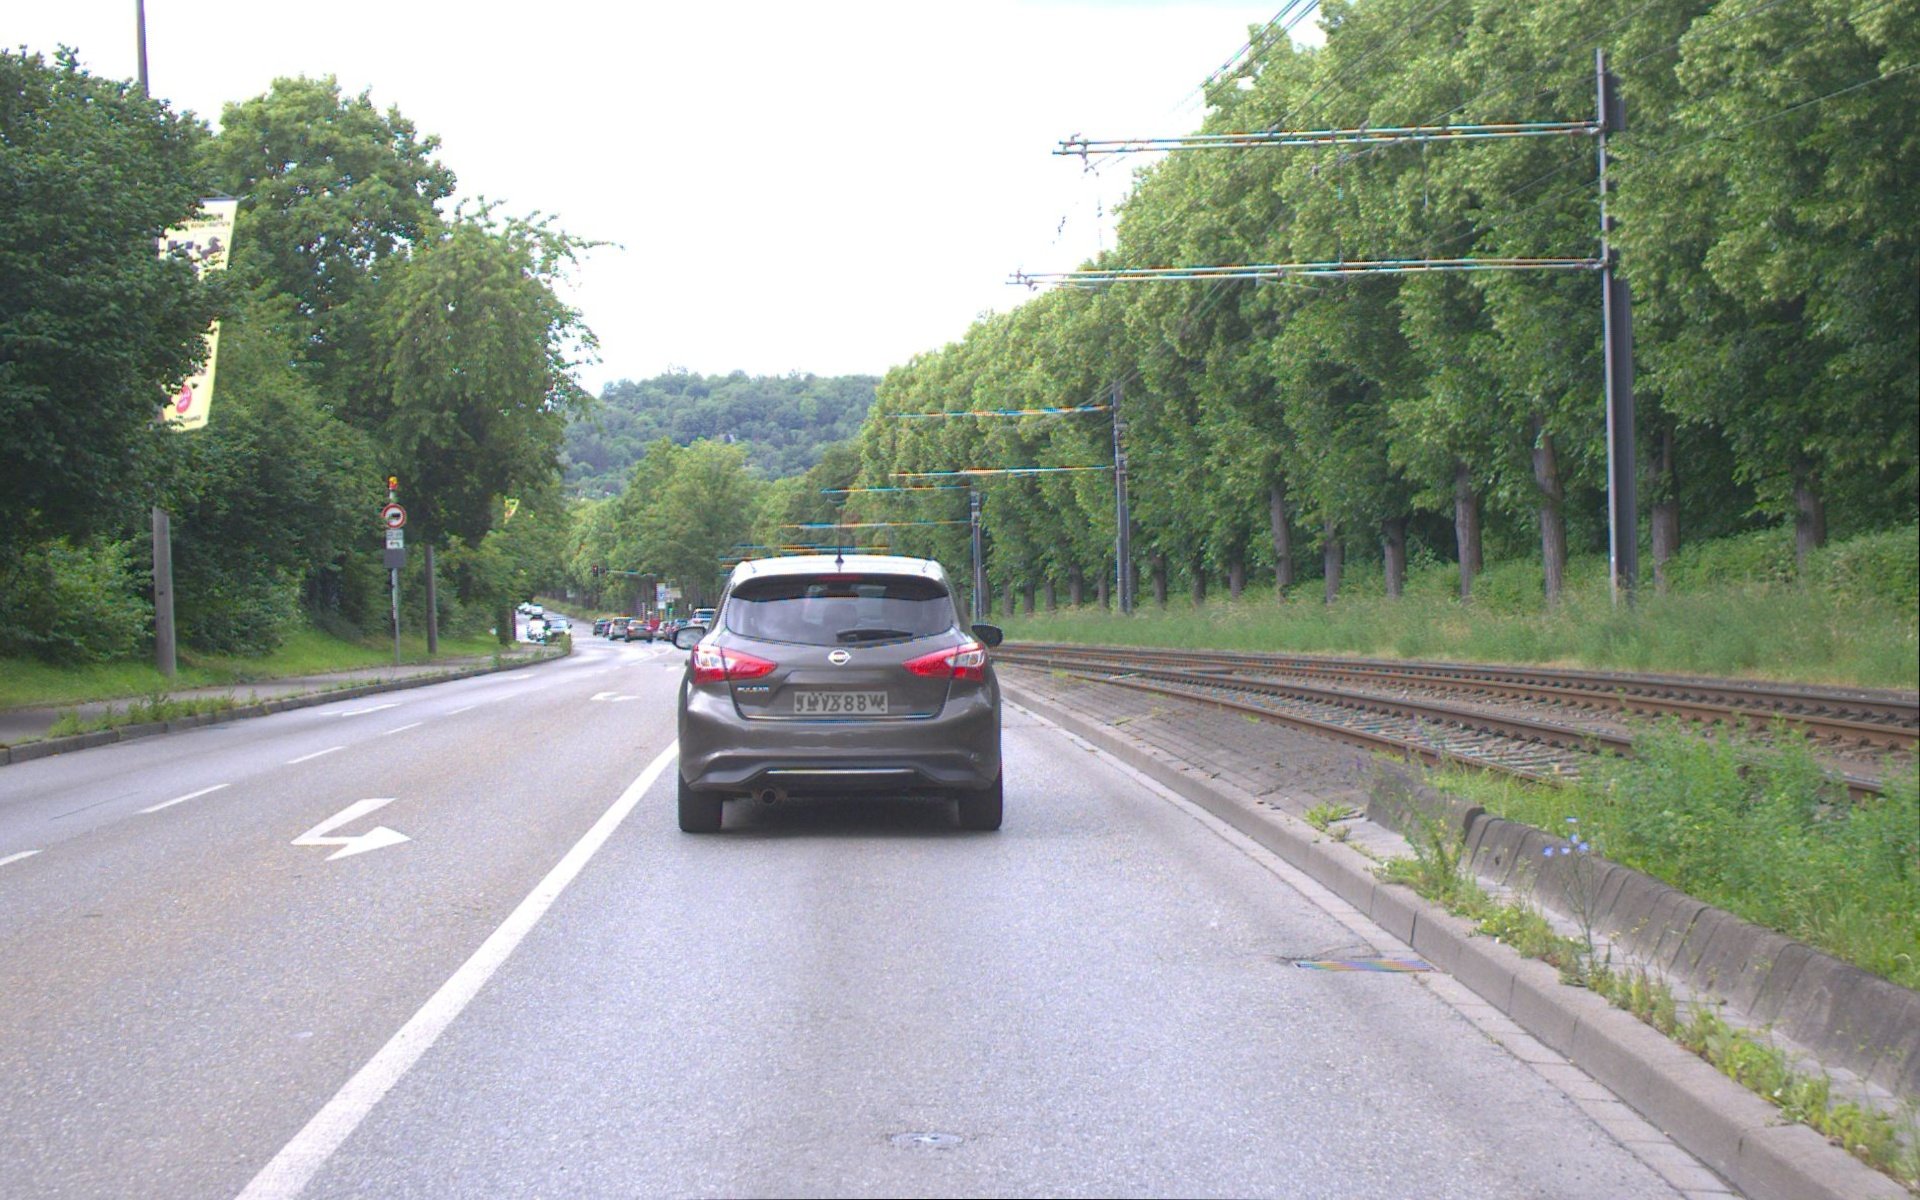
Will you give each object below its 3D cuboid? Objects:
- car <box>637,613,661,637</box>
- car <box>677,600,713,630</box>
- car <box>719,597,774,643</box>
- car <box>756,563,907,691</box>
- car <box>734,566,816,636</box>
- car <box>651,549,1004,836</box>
[{"bbox_3d":[-22.904,1.831,253.309,1.699,1.708,4.000,0,-1,-4],"label":"car"},{"bbox_3d":[-13.561,0.792,176.087,1.794,1.505,4.000,0,-1,-4],"label":"car"},{"bbox_3d":[-6.773,0.646,109.054,1.699,1.439,4.000,0,-1,-4],"label":"car"},{"bbox_3d":[-1.536,0.328,40.890,1.699,1.439,4.000,0,-1,-2],"label":"car"},{"bbox_3d":[-3.955,0.033,73.642,1.699,1.439,4.000,0,-1,-3],"label":"car"},{"bbox_3d":[-0.753,0.458,20.043,1.850,1.488,4.000,0,1,-2],"label":"car"}]
